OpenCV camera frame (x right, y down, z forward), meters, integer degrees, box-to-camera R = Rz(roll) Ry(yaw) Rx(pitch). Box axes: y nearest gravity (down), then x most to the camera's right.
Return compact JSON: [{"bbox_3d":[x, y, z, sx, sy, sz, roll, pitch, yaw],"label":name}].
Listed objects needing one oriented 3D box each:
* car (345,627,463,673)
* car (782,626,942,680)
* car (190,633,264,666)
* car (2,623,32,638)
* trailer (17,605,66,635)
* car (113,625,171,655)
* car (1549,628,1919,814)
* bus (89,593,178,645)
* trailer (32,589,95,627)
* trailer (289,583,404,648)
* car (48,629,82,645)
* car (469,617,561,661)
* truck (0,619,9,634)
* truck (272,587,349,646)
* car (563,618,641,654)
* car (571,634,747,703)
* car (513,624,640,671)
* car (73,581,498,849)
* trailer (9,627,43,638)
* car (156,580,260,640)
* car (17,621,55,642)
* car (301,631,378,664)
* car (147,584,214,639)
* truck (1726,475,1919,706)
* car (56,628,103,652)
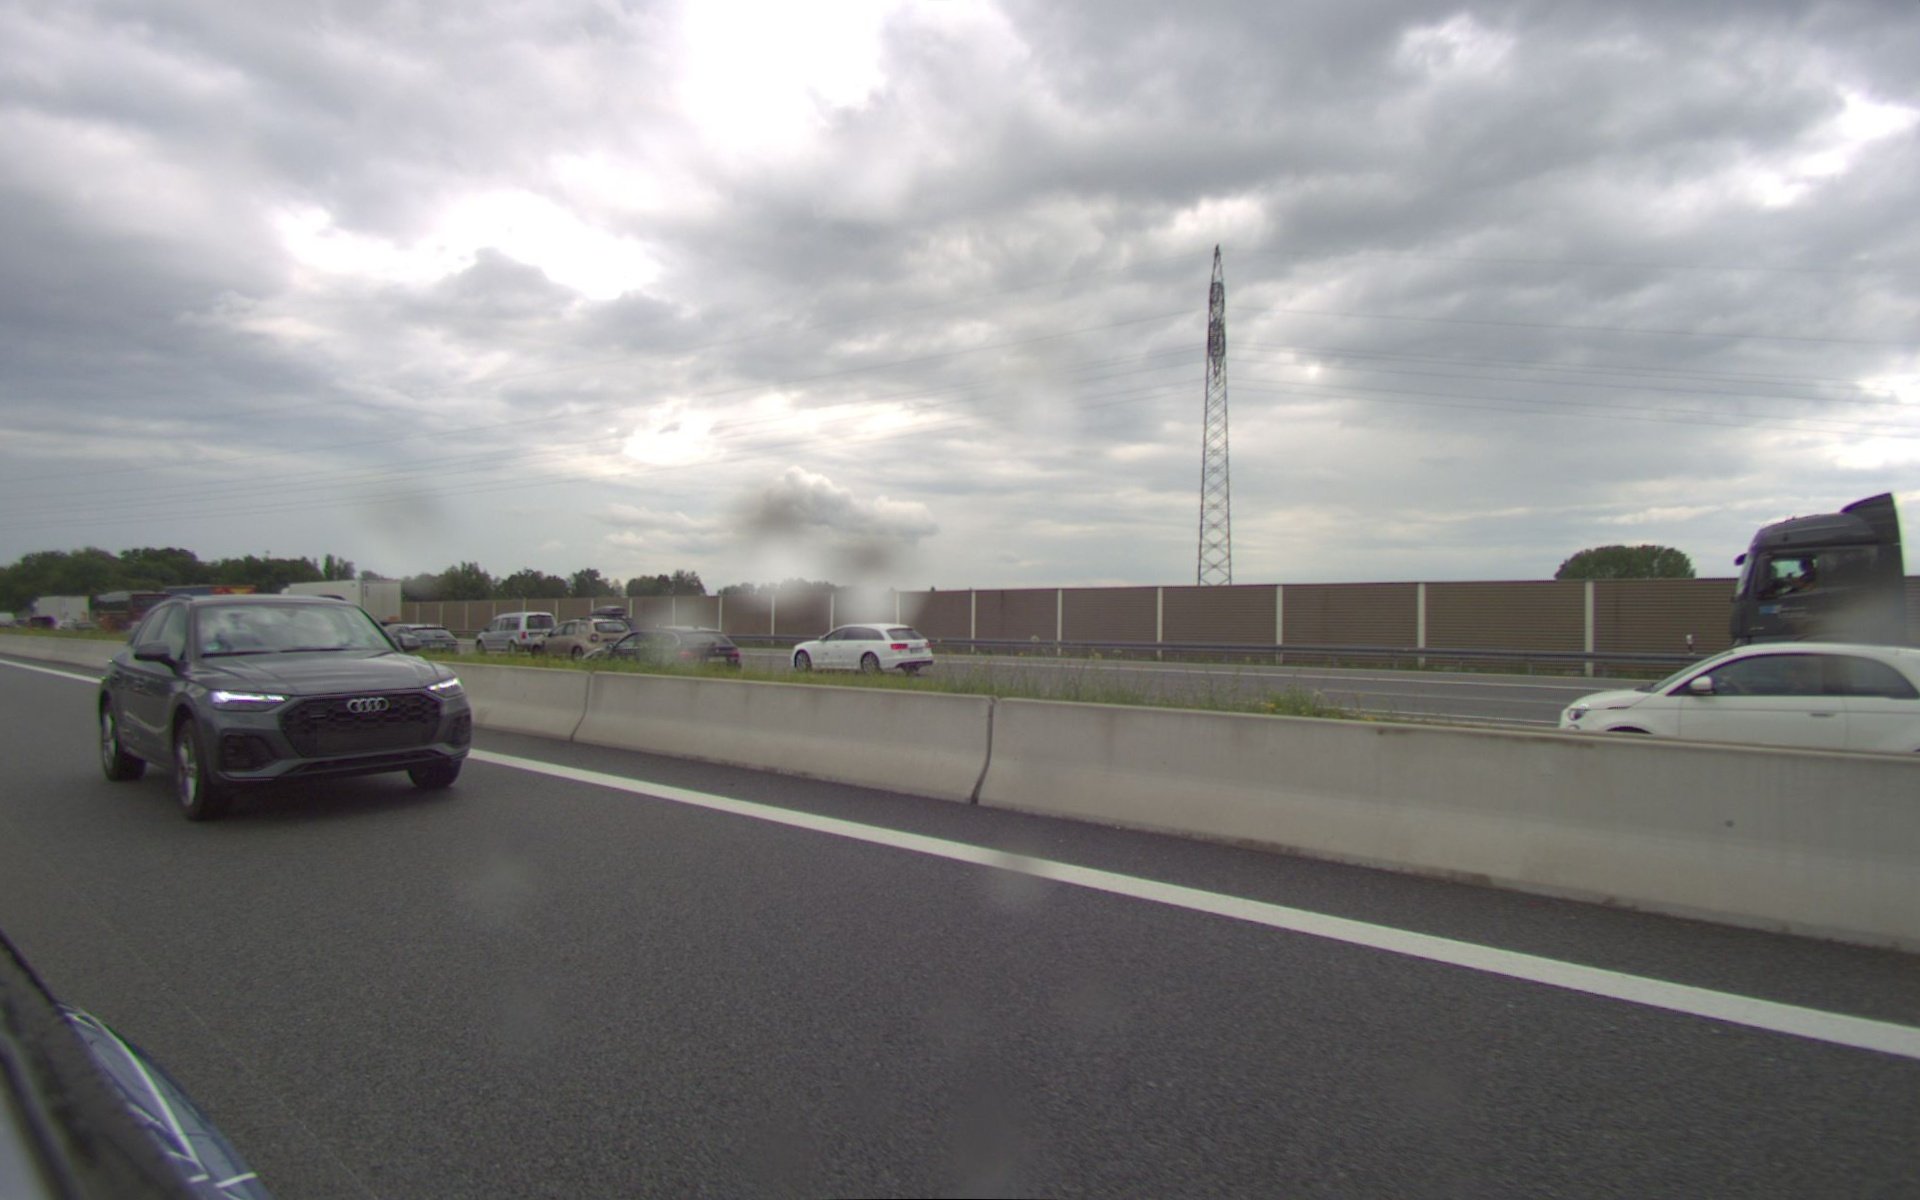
[{"bbox_3d":[-18.471,1.613,33.529,4.857,1.392,1.769,-1,0,40],"label":"car"},{"bbox_3d":[-2.948,1.496,29.655,4.857,1.392,1.769,-1,0,40],"label":"car"},{"bbox_3d":[-34.549,2.300,47.669,4.857,1.437,1.699,-1,0,40],"label":"car"},{"bbox_3d":[-102.558,3.290,110.097,4.560,1.574,1.770,-1,0,39],"label":"car"},{"bbox_3d":[-133.191,2.907,146.676,12.457,4.269,3.623,-1,-1,40],"label":"trailer"},{"bbox_3d":[-44.967,2.154,55.619,4.209,1.535,1.699,-1,0,40],"label":"car"},{"bbox_3d":[8.360,1.072,9.788,4.373,1.551,1.719,-1,0,40],"label":"car"},{"bbox_3d":[-62.674,1.454,76.549,12.748,3.638,2.861,-1,-1,40],"label":"bus"},{"bbox_3d":[-102.058,0.946,115.050,13.391,4.139,3.622,-1,-1,41],"label":"trailer"},{"bbox_3d":[-42.719,1.105,70.209,12.688,4.147,2.871,-1,-1,40],"label":"trailer"},{"bbox_3d":[-85.871,3.505,97.113,4.561,1.466,1.769,-1,0,40],"label":"car"},{"bbox_3d":[-19.155,1.661,43.512,4.574,1.753,1.772,-1,-1,40],"label":"car"},{"bbox_3d":[-158.320,4.367,166.442,6.258,2.470,2.081,-1,-1,40],"label":"truck"},{"bbox_3d":[-47.916,1.229,74.612,6.617,4.147,2.871,-1,-1,40],"label":"truck"},{"bbox_3d":[-17.270,1.715,48.727,3.952,1.609,1.769,-1,0,40],"label":"car"},{"bbox_3d":[-7.190,1.545,23.938,4.585,1.392,1.769,-1,0,40],"label":"car"},{"bbox_3d":[-12.703,1.529,33.389,4.857,1.392,1.769,-1,0,40],"label":"car"},{"bbox_3d":[-6.123,0.775,8.864,5.167,1.704,1.888,-1,-1,42],"label":"car"},{"bbox_3d":[-98.922,3.460,107.168,4.754,1.078,2.072,-1,0,39],"label":"trailer"},{"bbox_3d":[-56.552,0.792,75.860,14.383,4.155,2.953,-1,-1,40],"label":"car"},{"bbox_3d":[-75.191,2.559,82.336,4.292,1.678,1.769,-1,-1,40],"label":"car"},{"bbox_3d":[-29.716,2.249,48.390,4.857,1.437,1.699,-1,0,40],"label":"car"},{"bbox_3d":[-61.822,0.904,80.264,6.037,4.181,2.953,-1,-1,40],"label":"car"},{"bbox_3d":[18.349,-0.147,17.672,7.708,3.963,2.997,-1,-2,42],"label":"truck"},{"bbox_3d":[-60.754,2.734,69.822,4.561,1.545,1.769,-1,0,40],"label":"car"}]
